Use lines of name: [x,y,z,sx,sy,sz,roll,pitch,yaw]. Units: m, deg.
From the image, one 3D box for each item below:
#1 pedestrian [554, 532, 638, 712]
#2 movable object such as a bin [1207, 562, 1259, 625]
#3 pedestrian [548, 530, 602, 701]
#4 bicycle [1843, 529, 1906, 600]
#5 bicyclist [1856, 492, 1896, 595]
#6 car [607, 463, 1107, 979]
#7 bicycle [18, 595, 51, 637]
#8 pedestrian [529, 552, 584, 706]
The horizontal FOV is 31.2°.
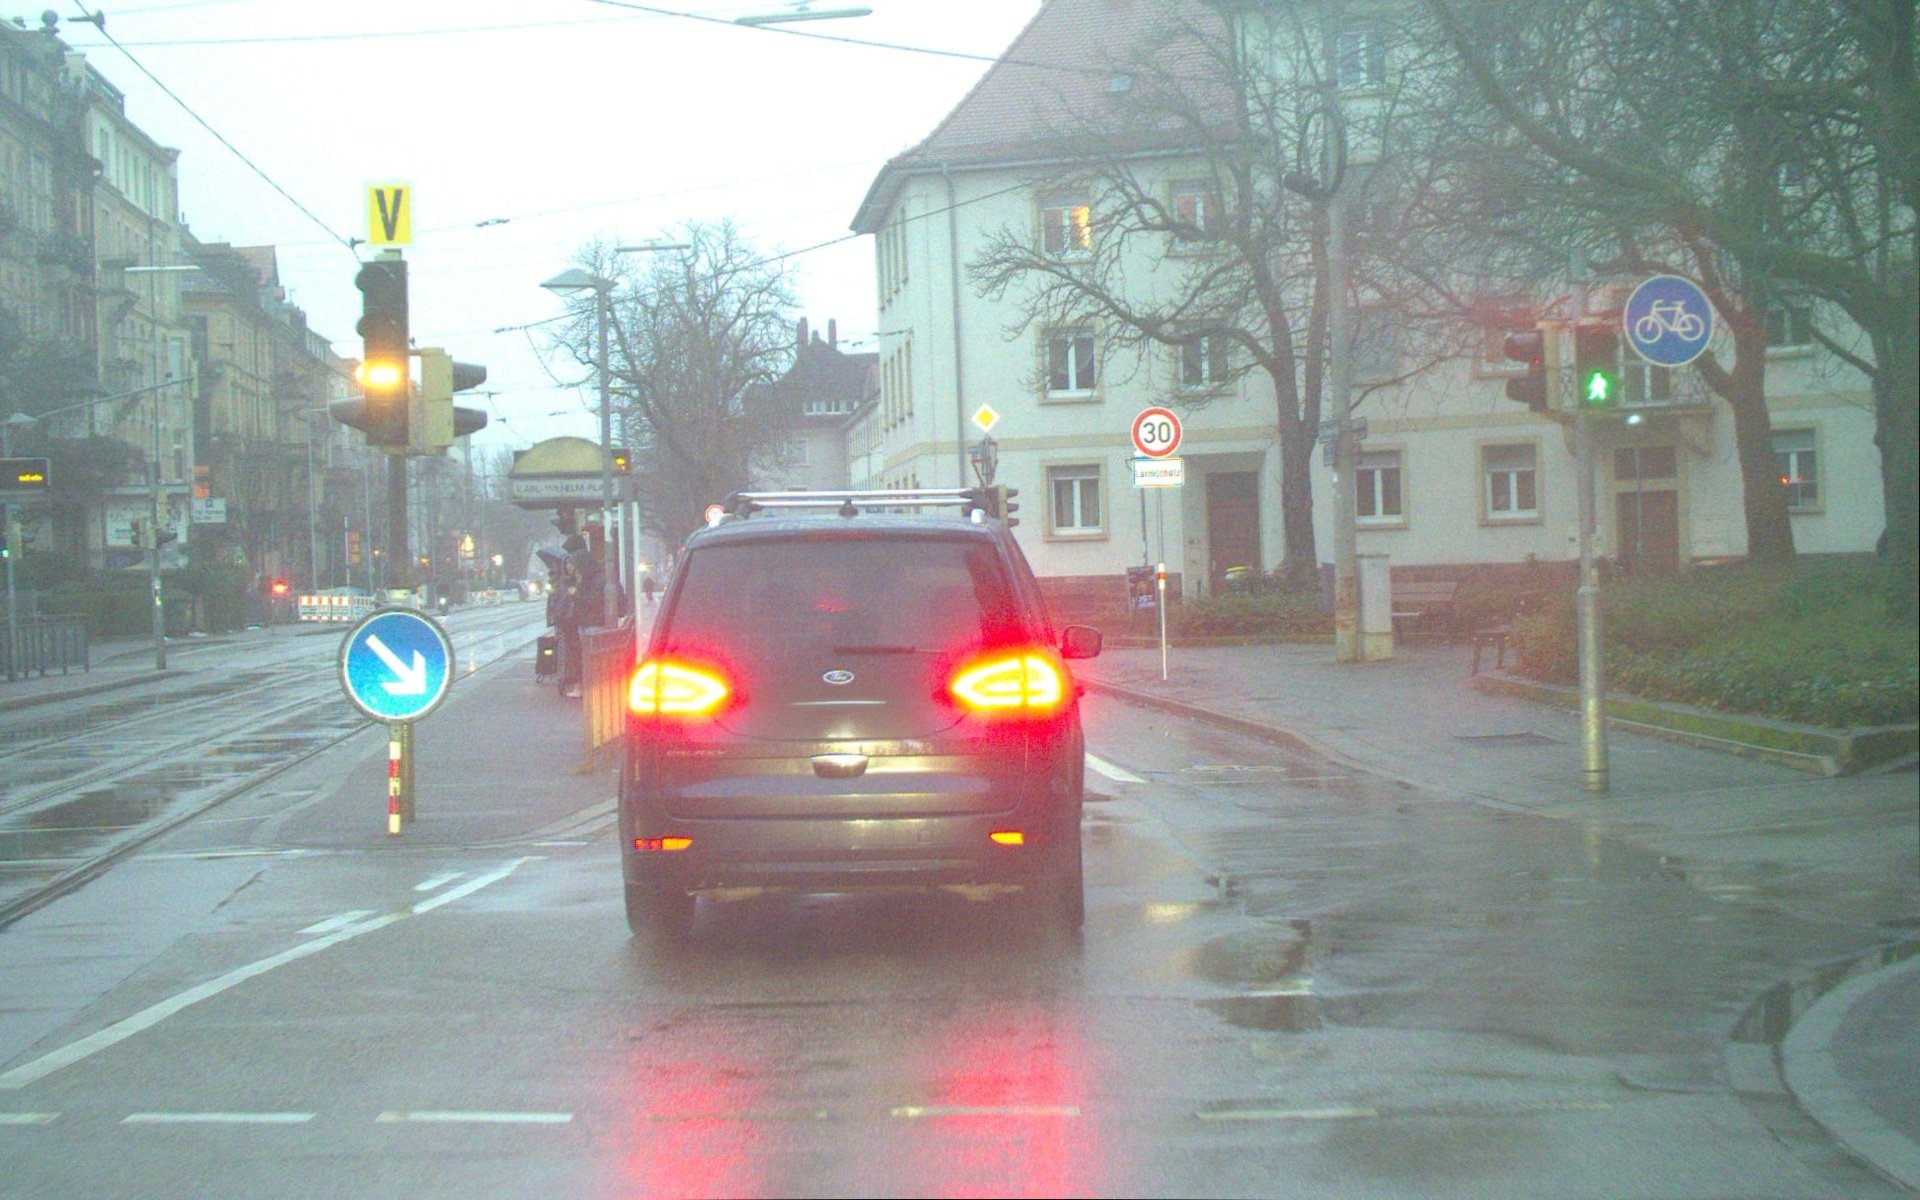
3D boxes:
pedestrian: [-4.007,0.243,37.870,0.853,1.949,0.571,1,0,-4]
movable object such as a bin: [5.468,-0.131,68.901,0.853,1.247,0.521,1,0,38]
pedestrian: [-4.520,0.185,40.348,0.557,1.980,0.571,1,0,-4]
bicycle: [16.853,-0.649,63.373,0.466,1.287,1.914,-2,0,-5]
bicyclist: [16.845,-1.038,63.226,0.466,1.880,0.679,-2,0,-5]
car: [-0.504,0.443,14.713,1.801,1.864,4.018,1,0,-4]
bicycle: [-23.030,0.386,85.557,0.416,1.003,1.849,-2,1,-4]
pedestrian: [-4.619,0.323,39.325,0.557,1.735,0.571,1,0,-4]
